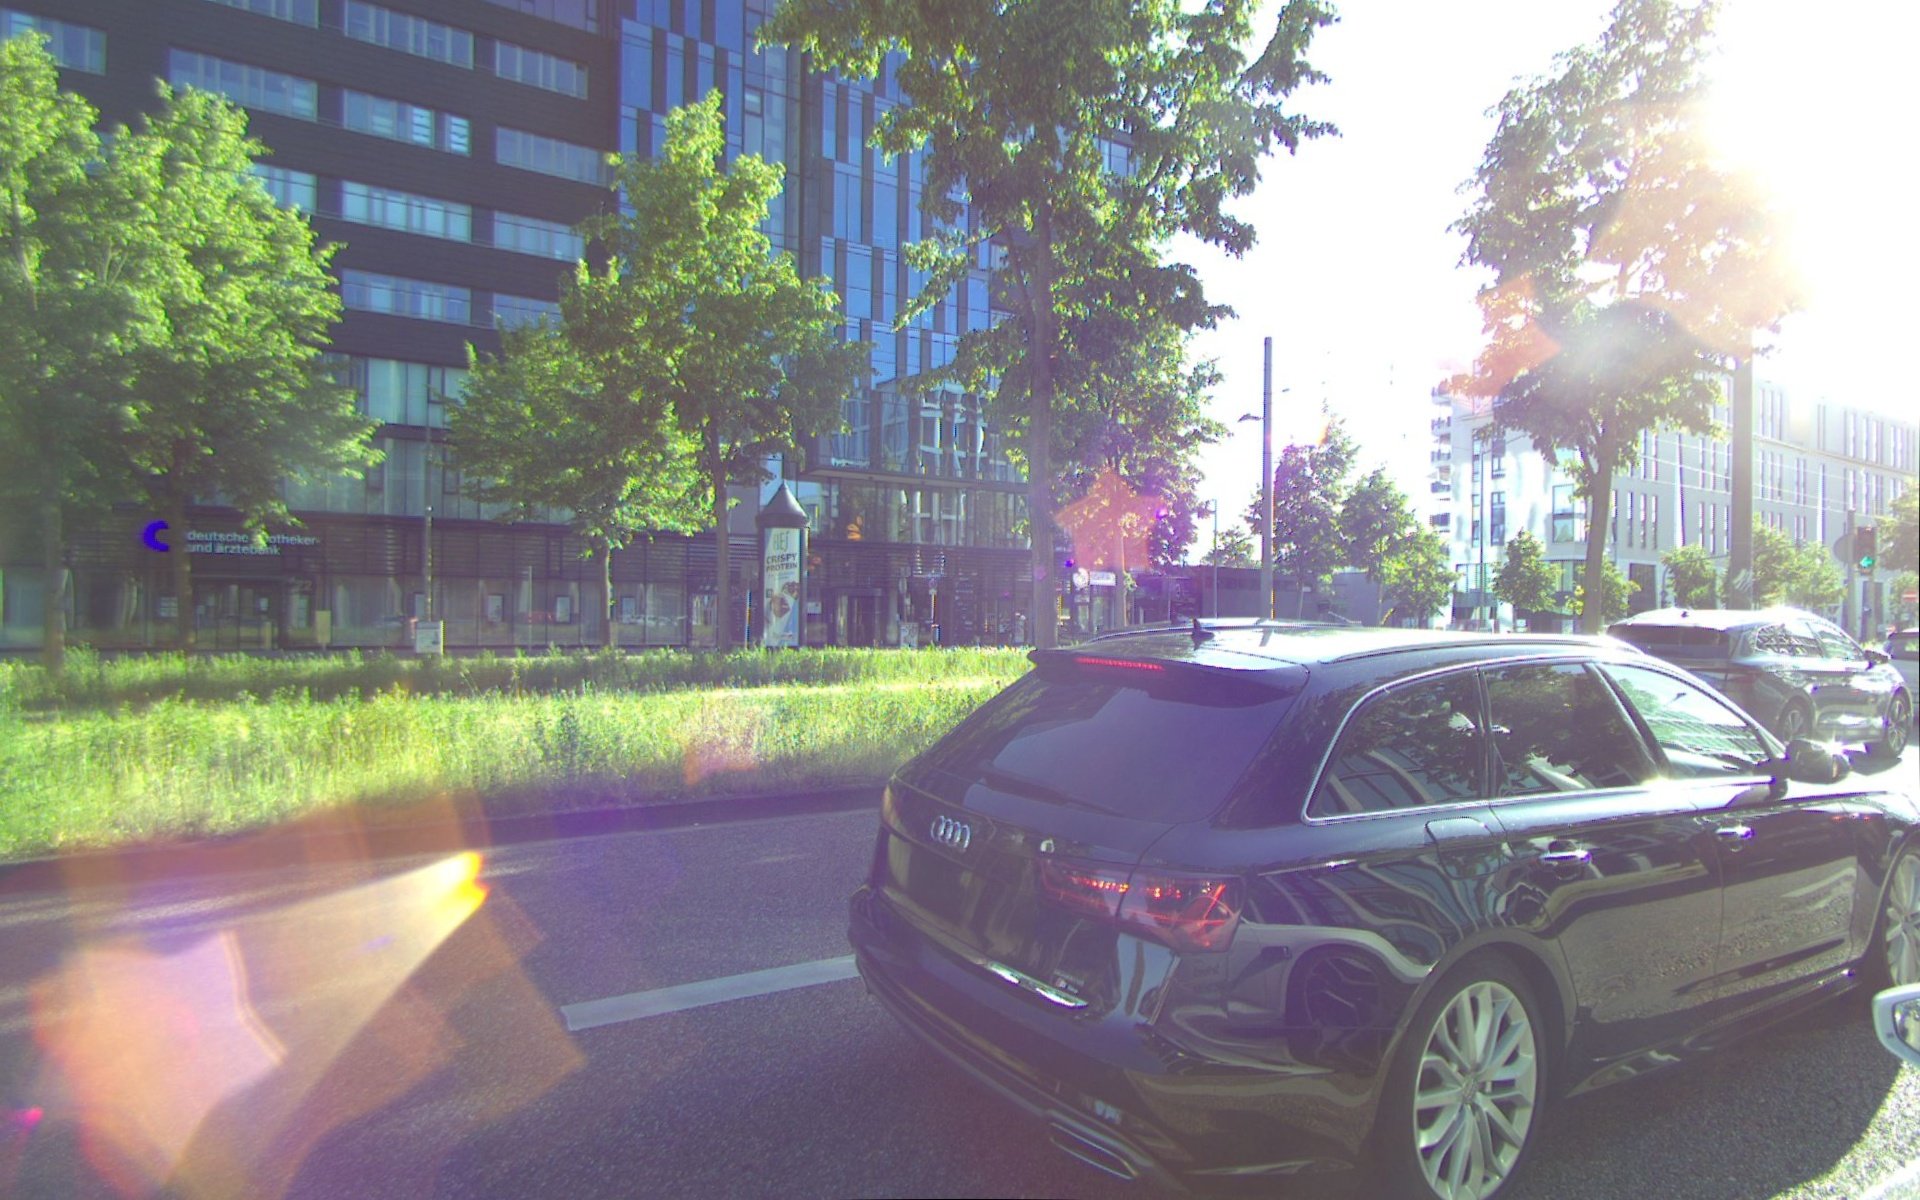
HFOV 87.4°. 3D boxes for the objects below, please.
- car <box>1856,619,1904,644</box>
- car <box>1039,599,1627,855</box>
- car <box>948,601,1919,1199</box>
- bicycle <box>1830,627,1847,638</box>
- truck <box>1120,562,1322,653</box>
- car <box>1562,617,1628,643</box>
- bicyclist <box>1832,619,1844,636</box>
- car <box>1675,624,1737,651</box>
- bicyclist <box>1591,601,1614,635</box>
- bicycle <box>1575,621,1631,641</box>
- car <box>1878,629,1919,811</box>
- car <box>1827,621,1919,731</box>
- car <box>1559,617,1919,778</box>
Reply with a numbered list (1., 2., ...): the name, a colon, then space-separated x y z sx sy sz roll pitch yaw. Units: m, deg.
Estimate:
1. car: 78.697 2.689 85.931 3.953 2.040 1.984 1 -1 -30
2. car: 2.964 0.779 7.690 4.515 1.467 1.790 1 -1 -30
3. car: 2.525 0.808 4.179 4.911 1.504 1.864 1 -1 -32
4. bicycle: 82.653 3.044 94.501 1.933 1.001 0.673 1 -1 -31
5. truck: 12.306 0.422 46.884 10.094 3.904 2.877 1 -1 -31
6. car: 38.139 1.793 60.297 3.953 1.540 1.756 1 -1 -30
7. bicyclist: 82.636 2.562 94.492 0.706 1.549 0.674 1 -1 -30
8. car: 52.075 2.618 70.074 4.319 1.838 1.984 1 -1 -30
9. bicyclist: 40.277 1.153 62.990 0.808 2.120 0.935 1 -1 -30
10. bicycle: 40.263 1.917 62.972 0.808 1.206 2.928 1 -1 -30
11. car: 9.817 0.994 8.516 4.288 1.445 1.833 1 -1 -30
12. car: 15.549 1.161 15.695 4.519 1.503 1.788 1 2 -33
13. car: 8.848 0.973 11.236 4.516 1.467 1.790 2 -1 -31
